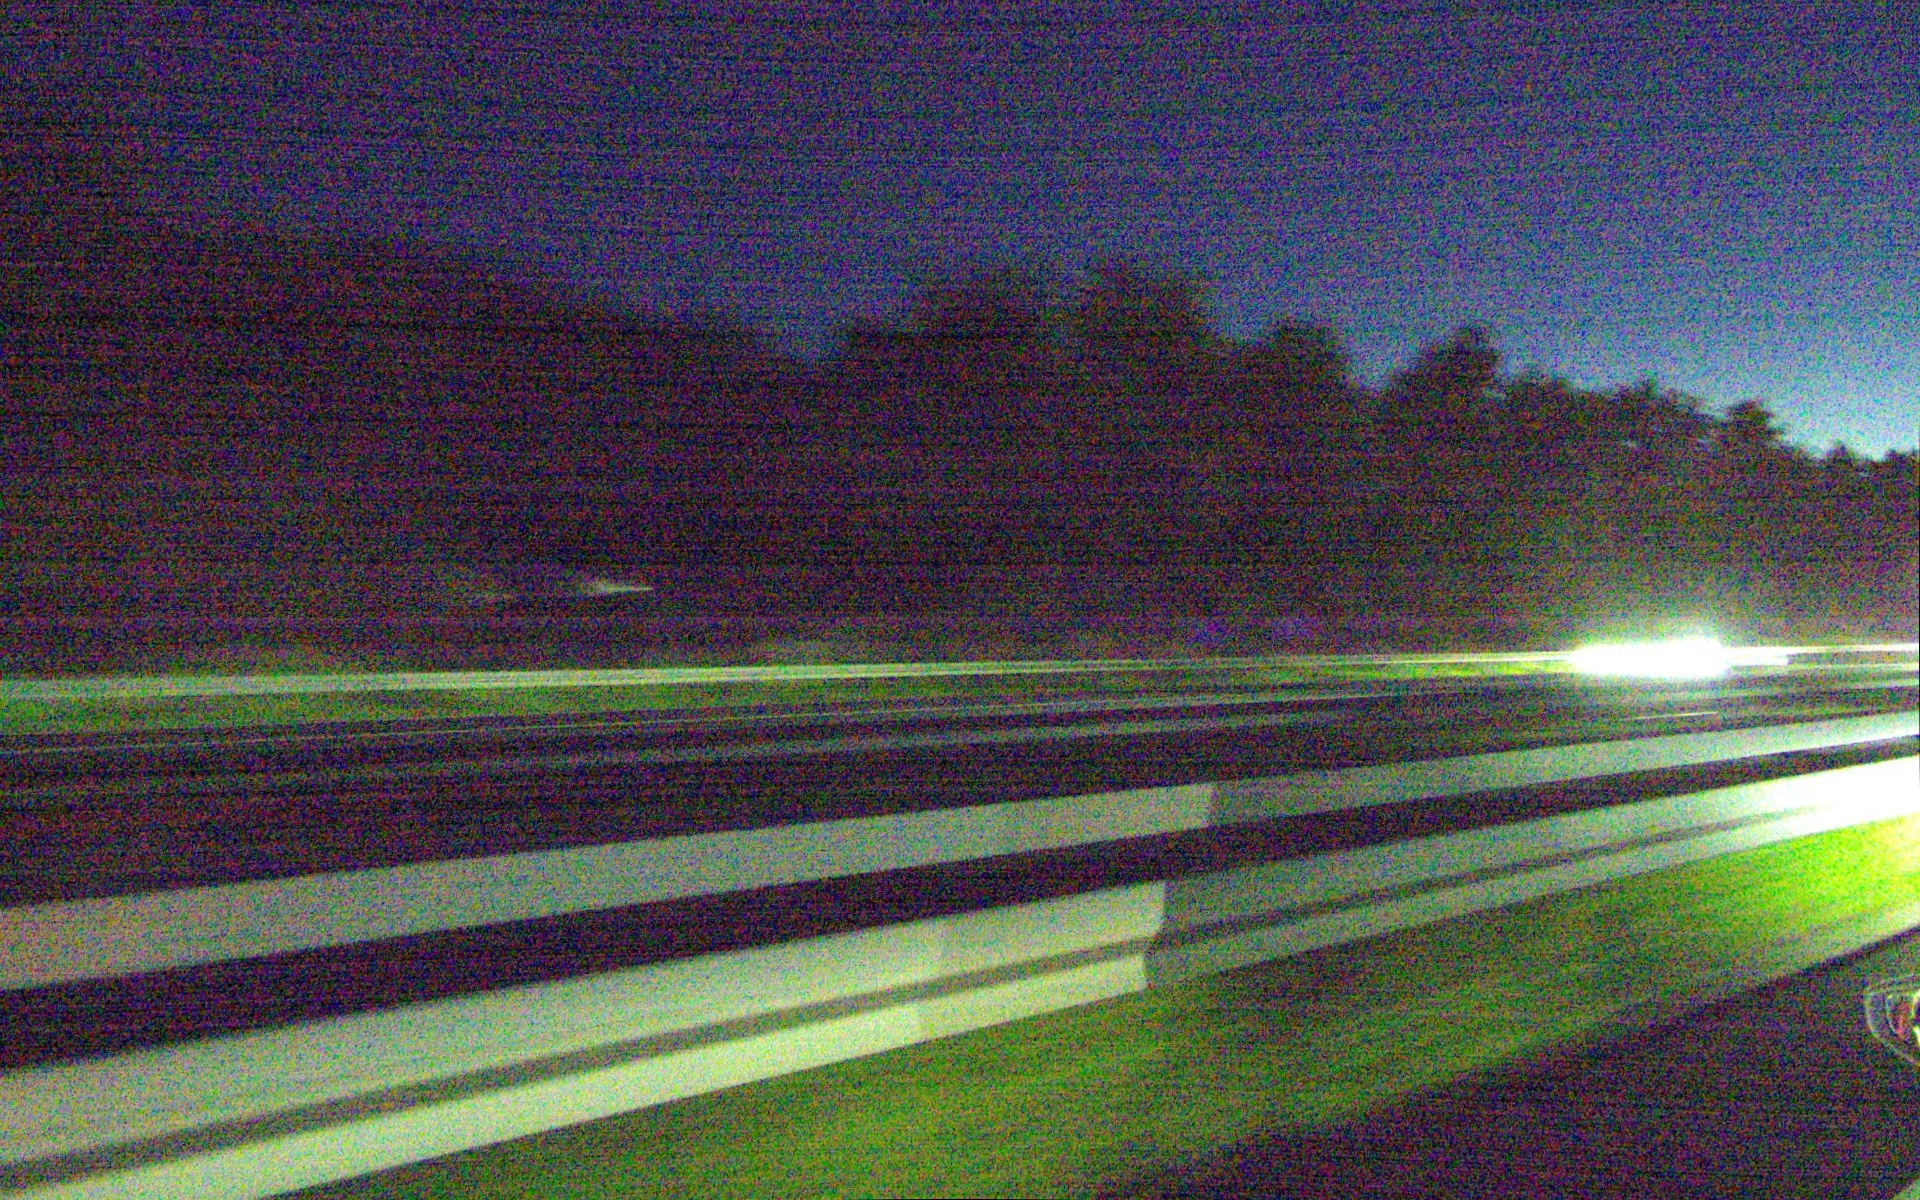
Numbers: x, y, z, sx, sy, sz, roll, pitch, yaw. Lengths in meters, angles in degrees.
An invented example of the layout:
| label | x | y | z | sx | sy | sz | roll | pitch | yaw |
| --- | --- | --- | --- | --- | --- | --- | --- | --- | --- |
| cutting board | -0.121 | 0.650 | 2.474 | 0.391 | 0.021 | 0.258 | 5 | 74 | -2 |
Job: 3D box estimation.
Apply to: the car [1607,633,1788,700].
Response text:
| label | x | y | z | sx | sy | sz | roll | pitch | yaw |
| --- | --- | --- | --- | --- | --- | --- | --- | --- | --- |
| car | 17.820 | 1.558 | 24.214 | 4.642 | 1.480 | 1.983 | 2 | -3 | -33 |
